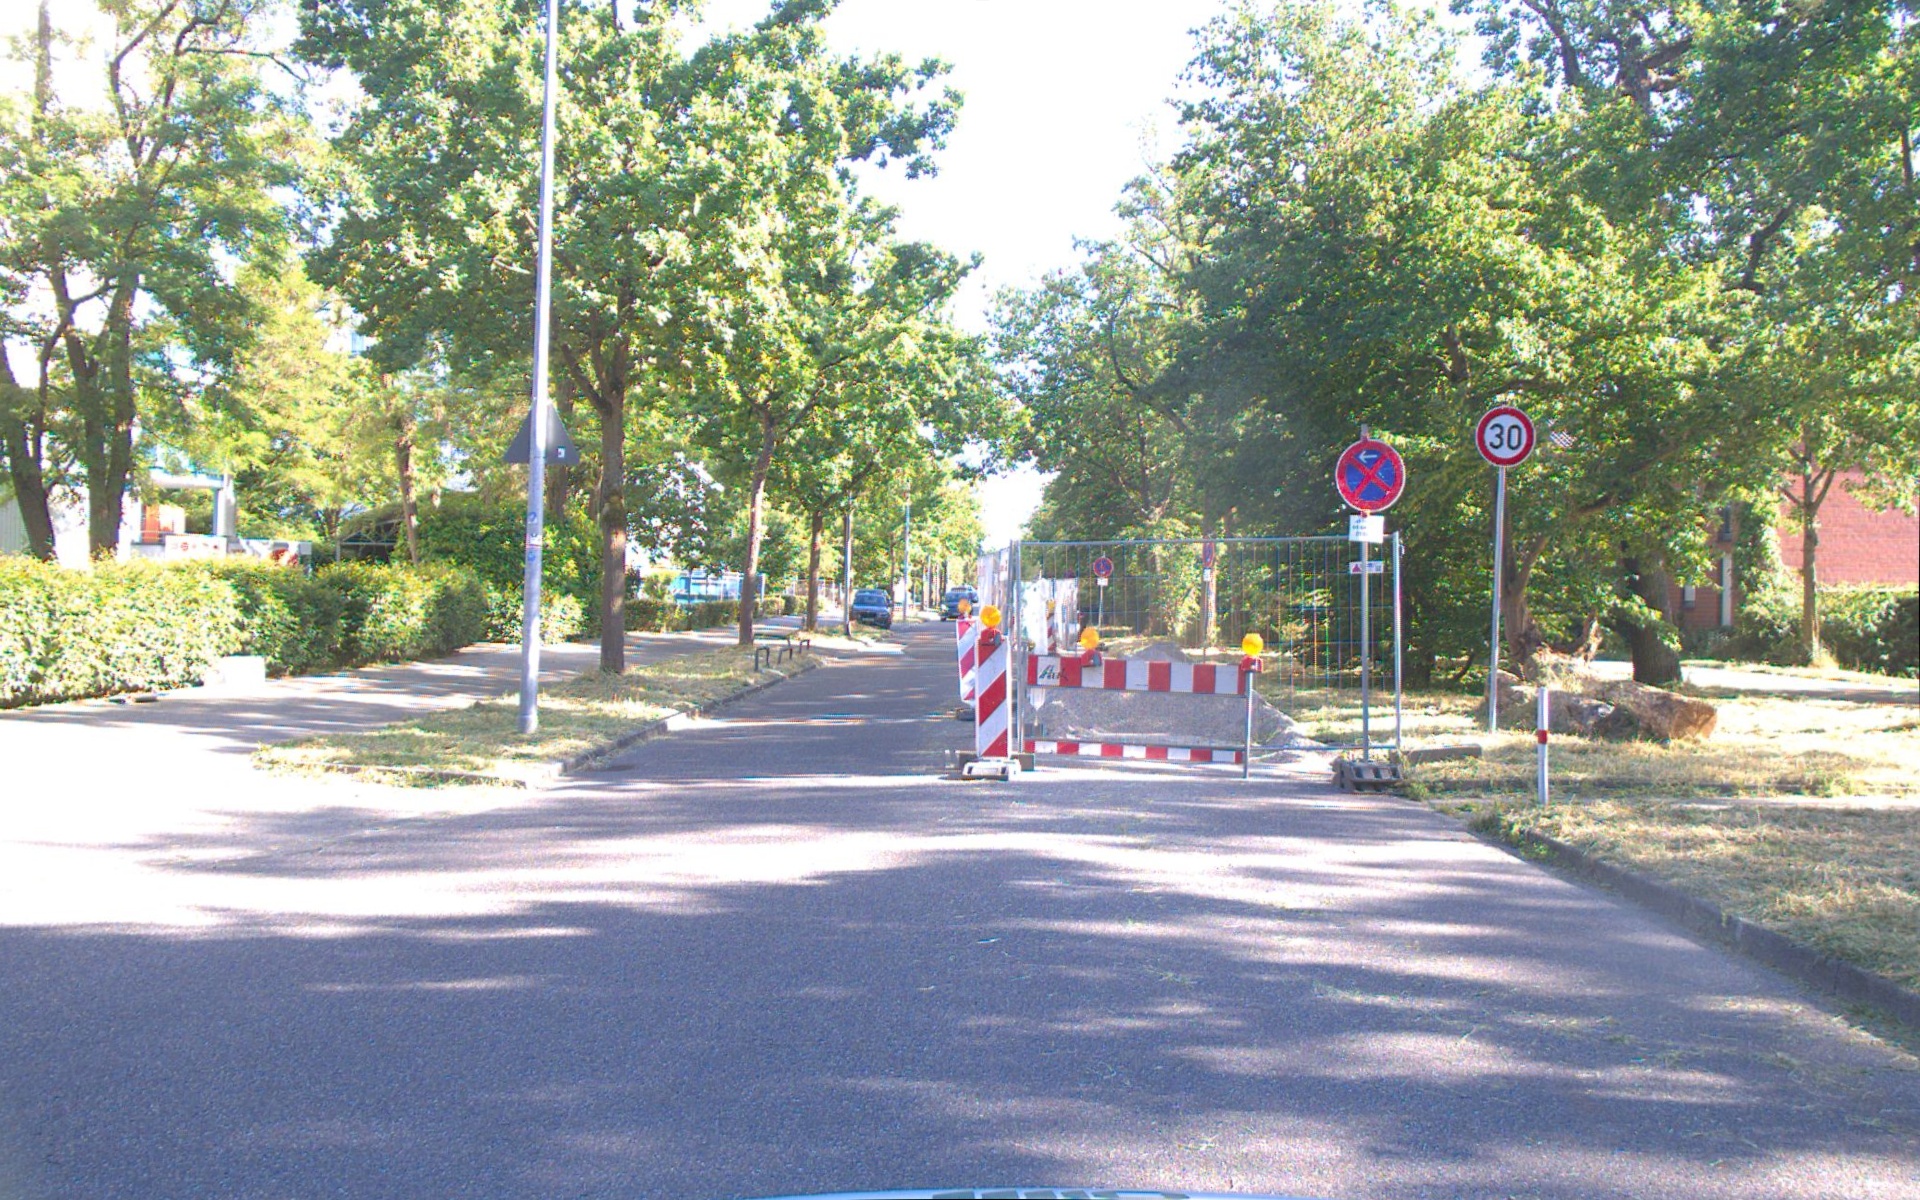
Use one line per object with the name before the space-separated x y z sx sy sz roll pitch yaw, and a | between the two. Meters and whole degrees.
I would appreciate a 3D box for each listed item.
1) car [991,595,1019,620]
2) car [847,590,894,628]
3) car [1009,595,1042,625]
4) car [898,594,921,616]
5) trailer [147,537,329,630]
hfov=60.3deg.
car | 2.457 0.432 91.572 1.334 1.325 3.480 2 -1 -1
car | -3.696 0.358 69.058 1.715 1.504 3.836 1 0 0
car | 3.078 0.473 78.593 1.334 1.325 3.480 2 -1 -1
car | -3.182 0.329 104.204 1.334 1.325 3.480 2 -1 -1
trailer | -17.264 -0.385 39.801 1.934 2.078 4.433 1 0 8
